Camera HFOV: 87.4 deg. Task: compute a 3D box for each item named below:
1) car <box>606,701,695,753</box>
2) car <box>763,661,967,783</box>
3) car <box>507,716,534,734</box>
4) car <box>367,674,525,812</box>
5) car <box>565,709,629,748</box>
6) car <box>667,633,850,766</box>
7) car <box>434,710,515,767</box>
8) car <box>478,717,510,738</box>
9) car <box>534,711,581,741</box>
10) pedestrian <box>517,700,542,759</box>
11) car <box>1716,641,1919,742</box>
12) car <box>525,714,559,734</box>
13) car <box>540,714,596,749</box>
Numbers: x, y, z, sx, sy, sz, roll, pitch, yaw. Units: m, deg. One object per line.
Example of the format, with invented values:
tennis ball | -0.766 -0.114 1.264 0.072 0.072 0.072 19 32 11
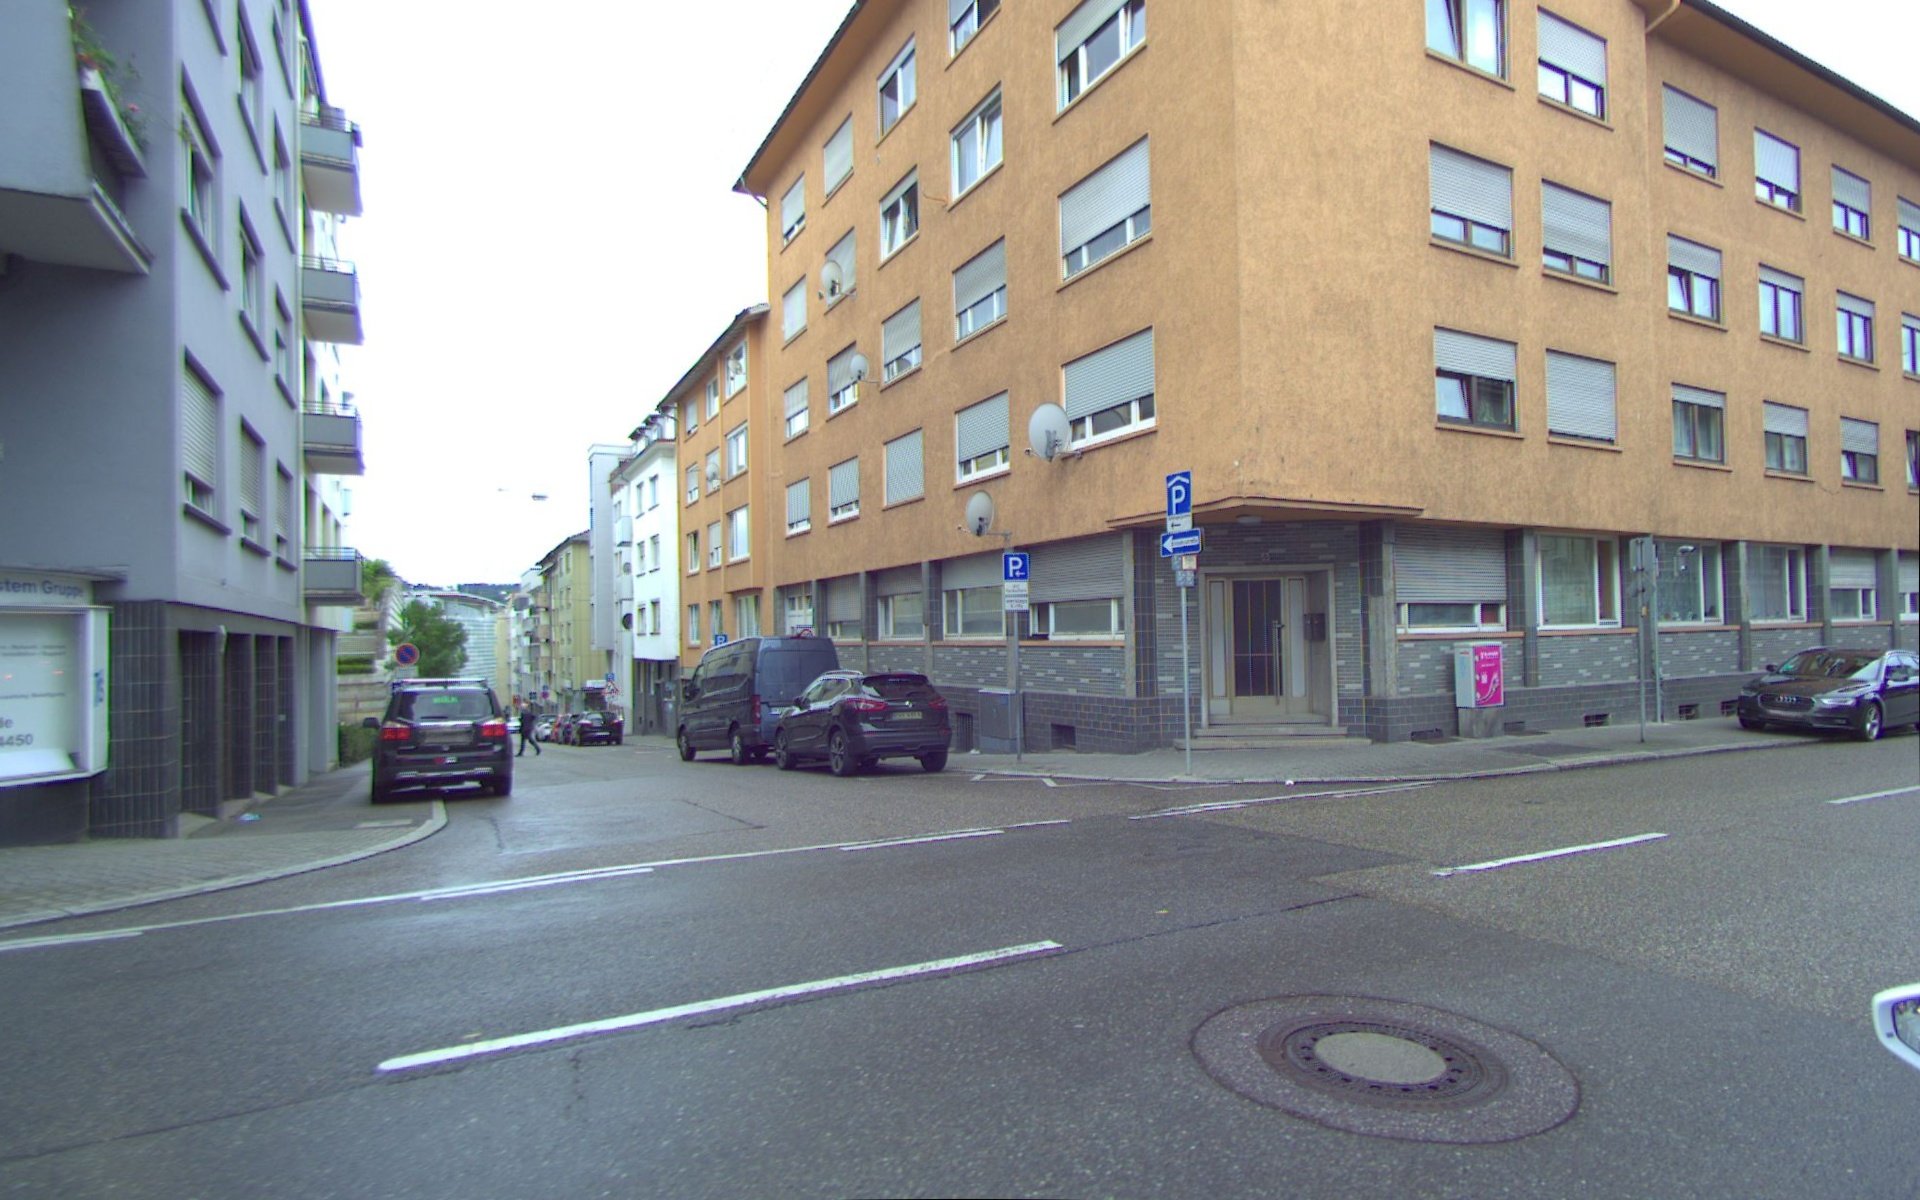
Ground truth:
car | -10.005 4.073 32.304 1.907 1.478 3.971 1 -6 -30
car | -1.688 1.968 16.456 1.906 1.673 3.974 0 -6 -28
car | -40.475 11.515 92.465 1.907 1.478 3.971 1 -6 -30
car | -7.947 2.119 15.407 1.907 1.739 3.971 1 -6 -30
car | -15.516 5.473 42.835 1.907 1.478 3.971 1 -6 -30
car | -4.508 2.157 21.671 1.962 2.490 5.312 1 -6 -34
car | -14.544 4.094 29.976 1.907 1.478 3.971 1 -6 -30
car | -36.995 10.106 79.760 1.908 1.478 3.969 1 -6 -31
car | -22.514 7.028 56.142 1.907 1.478 3.971 1 -6 -30
pedestrian | -14.137 4.247 32.986 0.713 1.840 0.600 0 0 -30
car | 15.459 1.511 17.708 4.497 1.478 1.882 1 -1 -31
car | -32.471 9.615 77.953 1.907 1.478 3.971 1 -6 -30
car | -18.607 6.216 47.540 1.907 1.478 3.971 1 -6 -30
